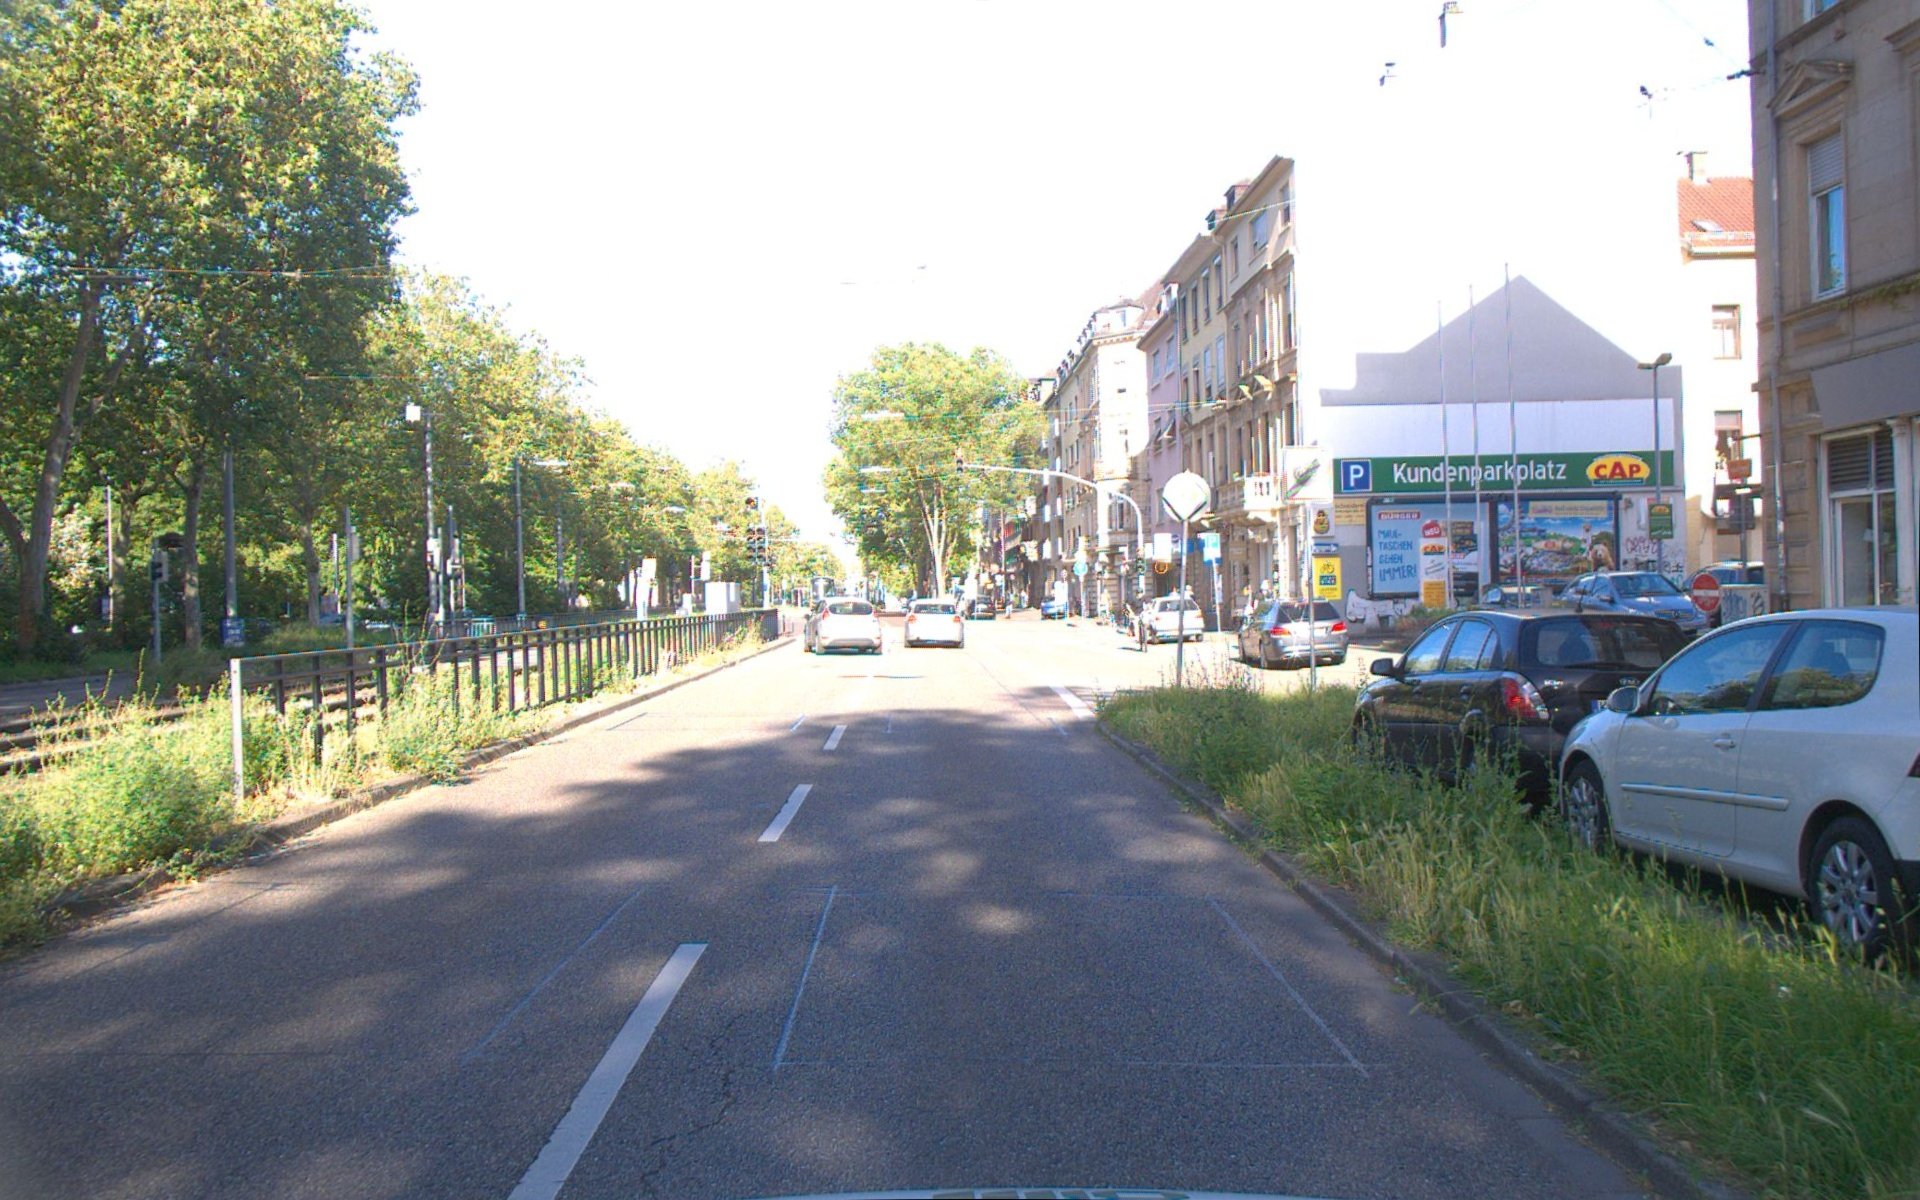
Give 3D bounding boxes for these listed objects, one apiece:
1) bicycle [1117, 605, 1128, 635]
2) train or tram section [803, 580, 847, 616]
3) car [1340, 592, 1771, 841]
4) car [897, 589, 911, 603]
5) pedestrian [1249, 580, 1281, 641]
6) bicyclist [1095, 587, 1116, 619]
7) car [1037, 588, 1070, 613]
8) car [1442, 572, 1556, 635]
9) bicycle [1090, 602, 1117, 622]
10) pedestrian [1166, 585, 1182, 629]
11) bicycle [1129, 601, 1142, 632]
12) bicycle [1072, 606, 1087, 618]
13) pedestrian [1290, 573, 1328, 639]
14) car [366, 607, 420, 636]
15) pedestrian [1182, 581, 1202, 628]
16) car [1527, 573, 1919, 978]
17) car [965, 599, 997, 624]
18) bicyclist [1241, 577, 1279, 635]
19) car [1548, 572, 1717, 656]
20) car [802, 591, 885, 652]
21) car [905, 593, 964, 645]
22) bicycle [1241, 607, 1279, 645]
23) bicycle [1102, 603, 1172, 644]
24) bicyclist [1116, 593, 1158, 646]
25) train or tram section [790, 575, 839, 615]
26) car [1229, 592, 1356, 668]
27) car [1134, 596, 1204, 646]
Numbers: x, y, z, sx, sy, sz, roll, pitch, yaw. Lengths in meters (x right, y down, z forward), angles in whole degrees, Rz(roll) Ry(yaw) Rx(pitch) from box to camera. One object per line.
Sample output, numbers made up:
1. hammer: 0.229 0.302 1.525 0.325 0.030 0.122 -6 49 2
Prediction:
1. bicycle: 6.460 0.780 65.608 0.405 1.161 1.810 0 0 5
2. train or tram section: -15.379 -0.262 190.021 3.924 3.933 17.483 -1 0 -1
3. car: 4.242 0.747 12.481 1.608 1.544 3.997 1 0 -3
4. car: -7.933 -0.572 235.757 1.953 2.049 3.999 -1 0 -1
5. pedestrian: 9.037 0.298 49.027 0.749 1.786 0.510 -1 0 -22
6. bicyclist: 6.961 0.138 78.953 0.538 1.528 0.956 -1 0 40
7. car: 5.838 0.049 103.569 1.700 1.546 3.635 0 0 -2
8. car: 13.662 0.084 42.077 1.528 1.511 3.391 -1 0 -5
9. bicycle: 6.851 0.565 79.068 0.642 0.919 1.331 -1 0 40
10. pedestrian: 8.462 0.269 65.316 0.538 1.738 0.388 -1 0 1
11. bicycle: 6.906 0.632 65.253 0.439 1.179 1.759 -1 0 4
12. bicycle: 7.690 0.783 106.834 0.739 0.784 1.944 -1 0 -3
13. pedestrian: 10.176 0.169 48.227 0.749 1.873 0.744 -1 0 -20
14. car: -30.663 1.145 89.535 1.636 1.536 4.143 -1 0 -3
15. pedestrian: 9.136 0.175 65.197 0.659 1.838 0.530 -1 0 -2
16. car: 4.421 0.692 8.123 1.704 1.544 3.997 1 0 -3
17. car: 1.276 0.676 100.599 1.701 1.458 3.676 0 0 -3
18. bicyclist: 7.985 0.163 44.108 0.663 1.471 1.181 -5 0 -1
19. car: 14.372 0.282 35.593 1.711 1.673 3.996 -1 0 -5
20. car: -3.073 0.539 43.079 1.581 1.493 3.877 -1 0 -13
21. car: -0.791 0.551 49.742 1.705 1.493 3.999 1 0 -2
22. bicycle: 7.989 0.683 44.097 0.636 0.936 1.917 -1 0 -1
23. bicycle: 5.027 0.681 47.025 0.753 1.121 1.921 -1 0 -44
24. bicyclist: 5.029 0.543 47.044 0.935 1.487 0.742 0 -1 44
25. train or tram section: -15.041 -0.478 172.520 3.889 3.933 17.483 -1 0 -1
26. car: 7.480 0.635 37.632 1.796 1.513 4.733 -4 0 -1
27. car: 6.615 0.639 52.722 1.531 1.440 4.002 -4 0 -1
